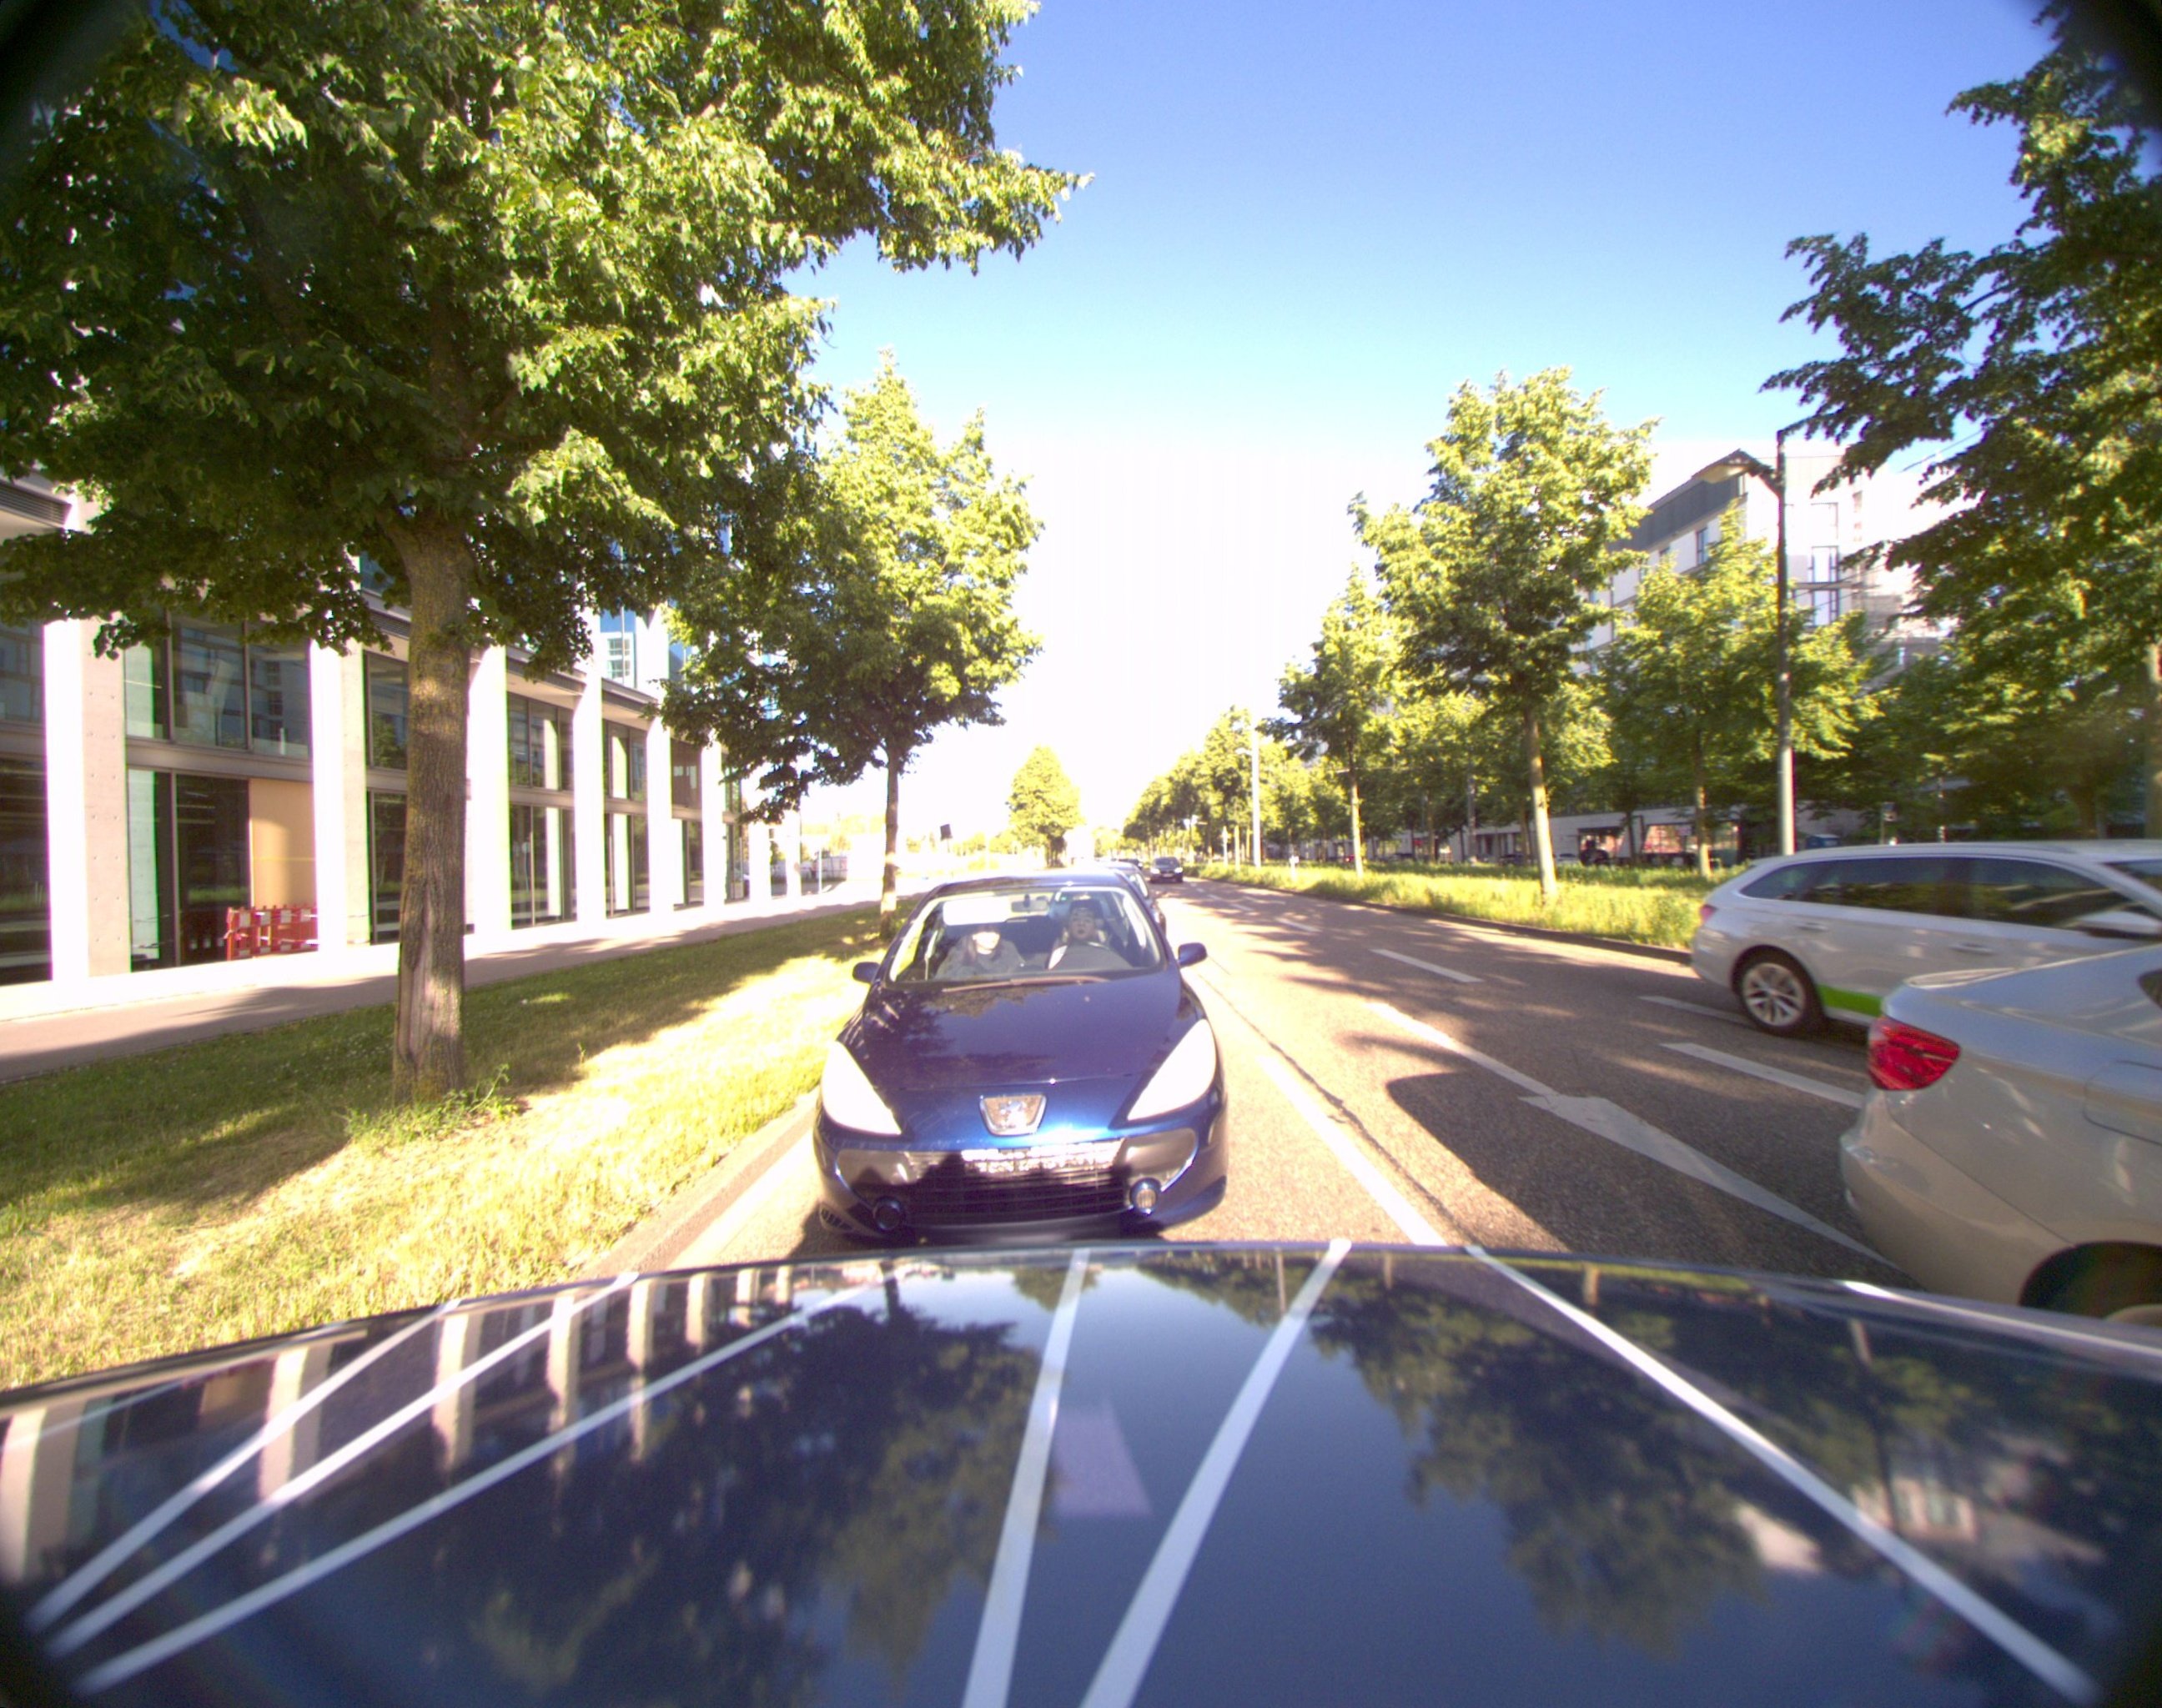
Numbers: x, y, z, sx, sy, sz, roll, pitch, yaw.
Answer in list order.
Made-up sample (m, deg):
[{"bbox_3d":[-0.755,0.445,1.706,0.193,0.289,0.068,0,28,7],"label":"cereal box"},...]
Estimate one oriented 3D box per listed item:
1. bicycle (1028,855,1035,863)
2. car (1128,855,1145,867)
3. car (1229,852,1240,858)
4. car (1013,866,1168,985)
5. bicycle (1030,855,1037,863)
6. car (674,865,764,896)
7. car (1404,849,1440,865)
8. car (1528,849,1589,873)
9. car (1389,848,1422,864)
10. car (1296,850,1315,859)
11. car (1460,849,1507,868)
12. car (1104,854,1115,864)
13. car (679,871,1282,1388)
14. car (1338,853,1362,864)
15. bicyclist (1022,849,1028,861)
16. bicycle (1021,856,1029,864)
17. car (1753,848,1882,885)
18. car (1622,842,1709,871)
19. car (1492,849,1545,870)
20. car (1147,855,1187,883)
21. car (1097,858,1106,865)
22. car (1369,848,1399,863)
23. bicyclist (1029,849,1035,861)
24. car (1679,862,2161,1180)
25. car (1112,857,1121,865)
[{"bbox_3d":[-8.784,0.929,135.872,0.931,1.355,4.000,-1,0,1],"label":"bicycle"},{"bbox_3d":[6.716,0.851,92.294,1.878,1.415,4.344,-1,0,2],"label":"car"},{"bbox_3d":[36.117,0.219,179.234,1.998,1.387,4.001,-1,0,4],"label":"car"},{"bbox_3d":[0.153,0.972,12.240,1.998,1.437,4.622,-1,0,1],"label":"car"},{"bbox_3d":[-8.753,0.891,140.026,0.931,1.355,4.000,-1,0,1],"label":"bicycle"},{"bbox_3d":[-20.039,1.440,42.152,3.996,1.569,2.000,-1,0,3],"label":"car"},{"bbox_3d":[35.033,0.292,78.199,1.884,1.588,4.184,-1,0,1],"label":"car"},{"bbox_3d":[34.905,0.496,55.640,1.884,1.588,4.184,-1,0,1],"label":"car"},{"bbox_3d":[35.446,0.223,83.107,1.884,1.588,4.184,-1,0,1],"label":"car"},{"bbox_3d":[36.612,0.046,124.156,1.998,1.387,4.000,-1,0,1],"label":"car"},{"bbox_3d":[35.158,0.386,66.517,1.884,1.588,4.184,-1,0,1],"label":"car"},{"bbox_3d":[4.443,0.706,119.420,1.724,1.516,4.000,-1,0,1],"label":"car"},{"bbox_3d":[-0.285,0.915,4.618,1.846,1.473,4.481,-2,0,1],"label":"car"},{"bbox_3d":[35.488,0.609,100.425,1.998,1.387,4.001,-1,0,4],"label":"car"},{"bbox_3d":[-9.973,0.212,135.574,0.931,2.045,1.121,-1,1,1],"label":"bicyclist"},{"bbox_3d":[-9.963,1.006,135.564,0.931,1.355,4.000,-1,0,1],"label":"bicycle"},{"bbox_3d":[34.089,0.555,35.354,1.951,1.588,4.184,-1,0,1],"label":"car"},{"bbox_3d":[34.352,0.131,44.802,1.951,1.588,4.184,-1,0,1],"label":"car"},{"bbox_3d":[35.191,0.429,61.234,1.884,1.588,4.184,-1,0,1],"label":"car"},{"bbox_3d":[4.928,0.823,44.033,1.861,1.482,4.000,-1,0,1],"label":"car"},{"bbox_3d":[4.818,1.724,177.488,1.878,1.561,4.344,-1,0,2],"label":"car"},{"bbox_3d":[35.503,0.168,89.027,1.884,1.588,4.184,-1,0,1],"label":"car"},{"bbox_3d":[-8.805,0.137,135.775,0.931,2.045,1.121,-1,1,1],"label":"bicyclist"},{"bbox_3d":[6.019,0.811,4.188,1.804,1.439,4.568,-1,0,-1],"label":"car"},{"bbox_3d":[7.249,1.363,155.252,1.878,1.577,4.344,-1,0,2],"label":"car"}]
